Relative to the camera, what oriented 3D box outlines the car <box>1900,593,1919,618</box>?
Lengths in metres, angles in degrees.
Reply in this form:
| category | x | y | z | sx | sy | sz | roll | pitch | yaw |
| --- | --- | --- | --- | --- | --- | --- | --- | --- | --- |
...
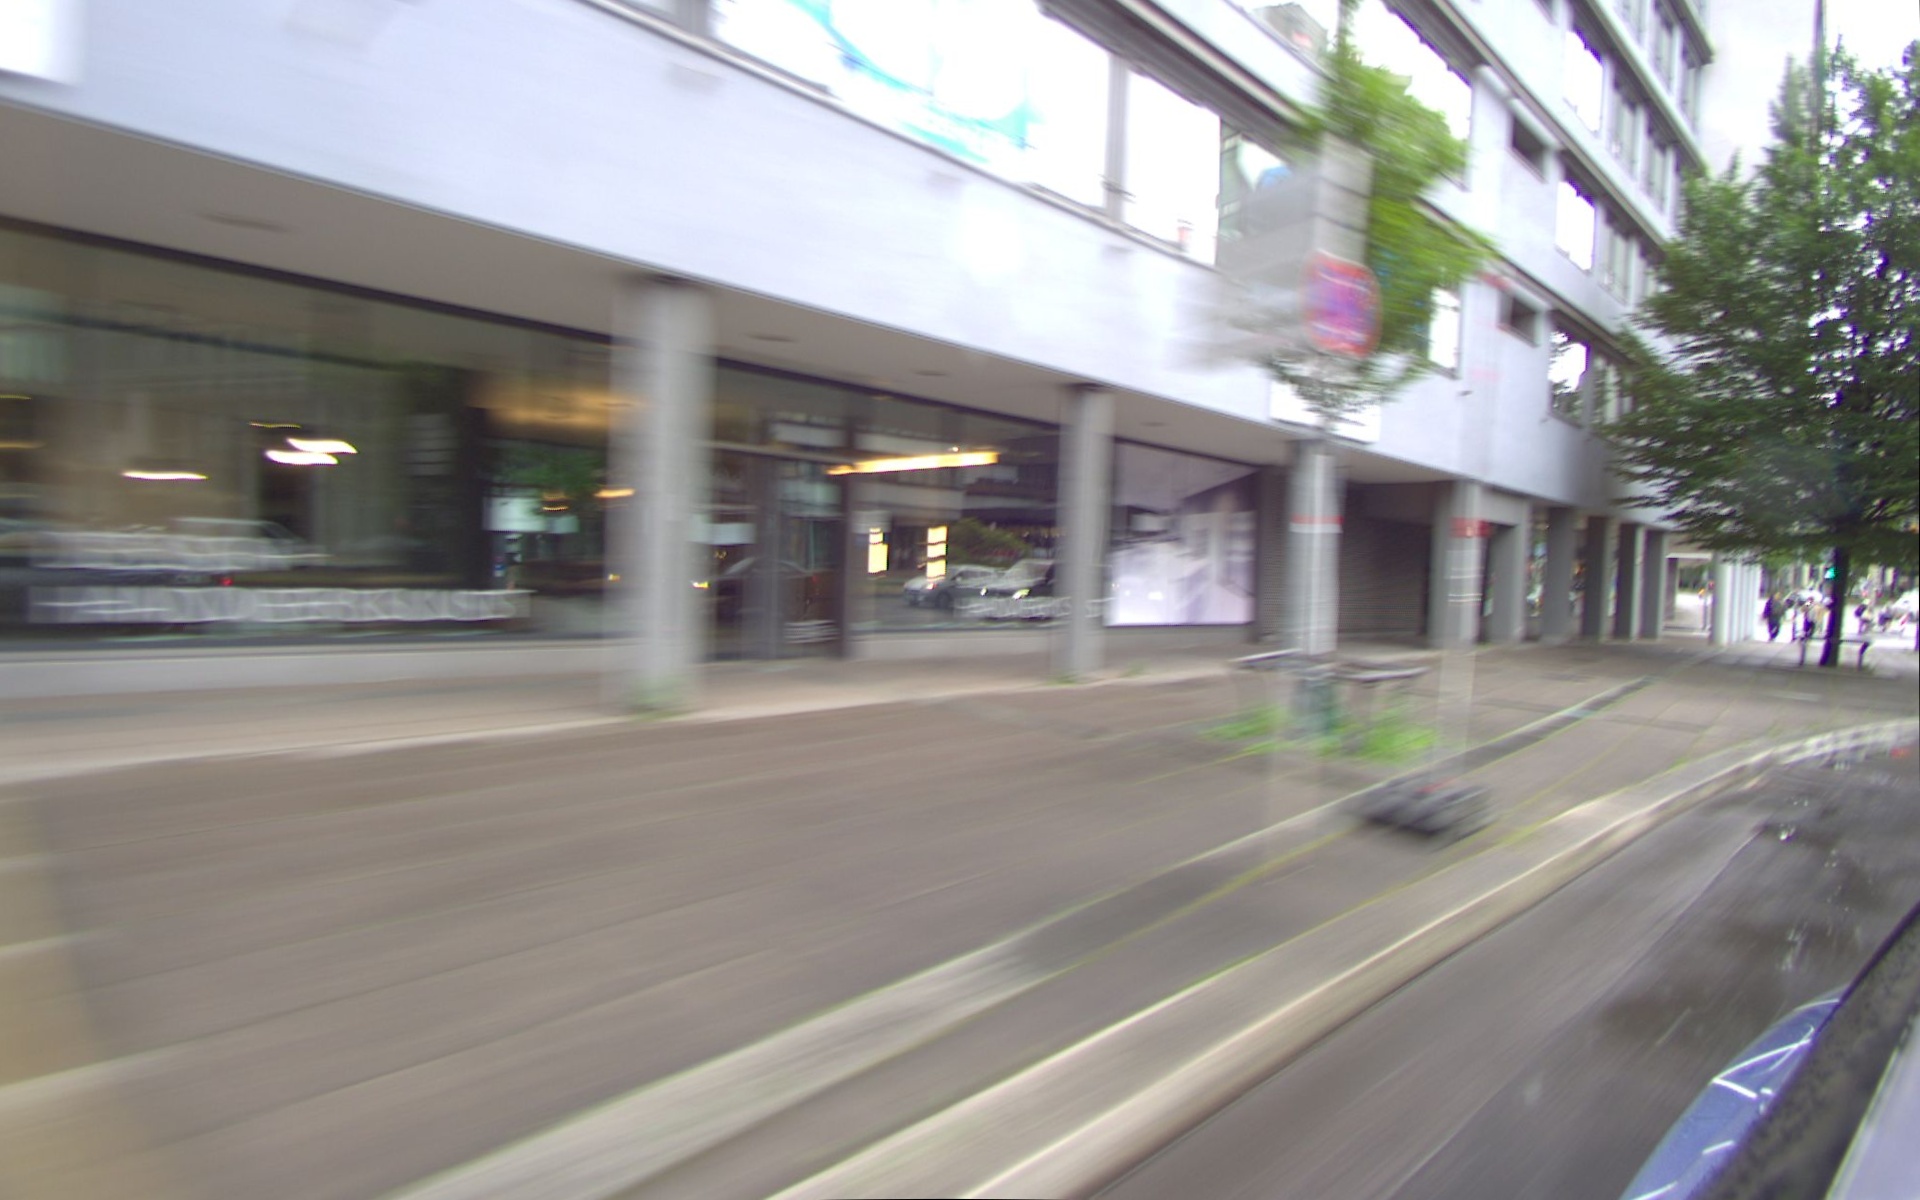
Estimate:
| category | x | y | z | sx | sy | sz | roll | pitch | yaw |
| --- | --- | --- | --- | --- | --- | --- | --- | --- | --- |
| car | 59.750 | 0.376 | 61.816 | 1.869 | 1.504 | 3.976 | 2 | 2 | 19 |

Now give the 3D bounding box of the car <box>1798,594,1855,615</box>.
| category | x | y | z | sx | sy | sz | roll | pitch | yaw |
| --- | --- | --- | --- | --- | --- | --- | --- | --- | --- |
| car | 65.880 | 0.326 | 77.005 | 1.869 | 1.504 | 3.976 | 2 | 2 | 19 |

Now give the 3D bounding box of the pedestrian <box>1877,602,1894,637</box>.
| category | x | y | z | sx | sy | sz | roll | pitch | yaw |
| --- | --- | --- | --- | --- | --- | --- | --- | --- | --- |
| pedestrian | 43.760 | 0.917 | 47.848 | 0.525 | 1.617 | 0.720 | 2 | 1 | 42 |

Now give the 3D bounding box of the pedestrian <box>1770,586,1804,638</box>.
| category | x | y | z | sx | sy | sz | roll | pitch | yaw |
| --- | --- | --- | --- | --- | --- | --- | --- | --- | --- |
| pedestrian | 29.330 | 0.427 | 35.886 | 0.792 | 1.805 | 0.880 | 2 | 0 | 44 |

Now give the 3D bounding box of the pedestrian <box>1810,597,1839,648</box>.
| category | x | y | z | sx | sy | sz | roll | pitch | yaw |
| --- | --- | --- | --- | --- | --- | --- | --- | --- | --- |
| pedestrian | 31.345 | 0.801 | 36.688 | 0.865 | 1.805 | 0.640 | 3 | 0 | -43 |

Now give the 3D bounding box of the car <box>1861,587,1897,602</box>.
| category | x | y | z | sx | sy | sz | roll | pitch | yaw |
| --- | --- | --- | --- | --- | --- | --- | --- | --- | --- |
| car | 95.331 | -0.633 | 105.041 | 1.727 | 1.482 | 3.962 | 2 | 2 | 28 |

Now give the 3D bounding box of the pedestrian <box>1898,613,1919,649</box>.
| category | x | y | z | sx | sy | sz | roll | pitch | yaw |
| --- | --- | --- | --- | --- | --- | --- | --- | --- | --- |
| pedestrian | 44.228 | 1.441 | 47.162 | 0.651 | 1.617 | 1.043 | 2 | 1 | 42 |
